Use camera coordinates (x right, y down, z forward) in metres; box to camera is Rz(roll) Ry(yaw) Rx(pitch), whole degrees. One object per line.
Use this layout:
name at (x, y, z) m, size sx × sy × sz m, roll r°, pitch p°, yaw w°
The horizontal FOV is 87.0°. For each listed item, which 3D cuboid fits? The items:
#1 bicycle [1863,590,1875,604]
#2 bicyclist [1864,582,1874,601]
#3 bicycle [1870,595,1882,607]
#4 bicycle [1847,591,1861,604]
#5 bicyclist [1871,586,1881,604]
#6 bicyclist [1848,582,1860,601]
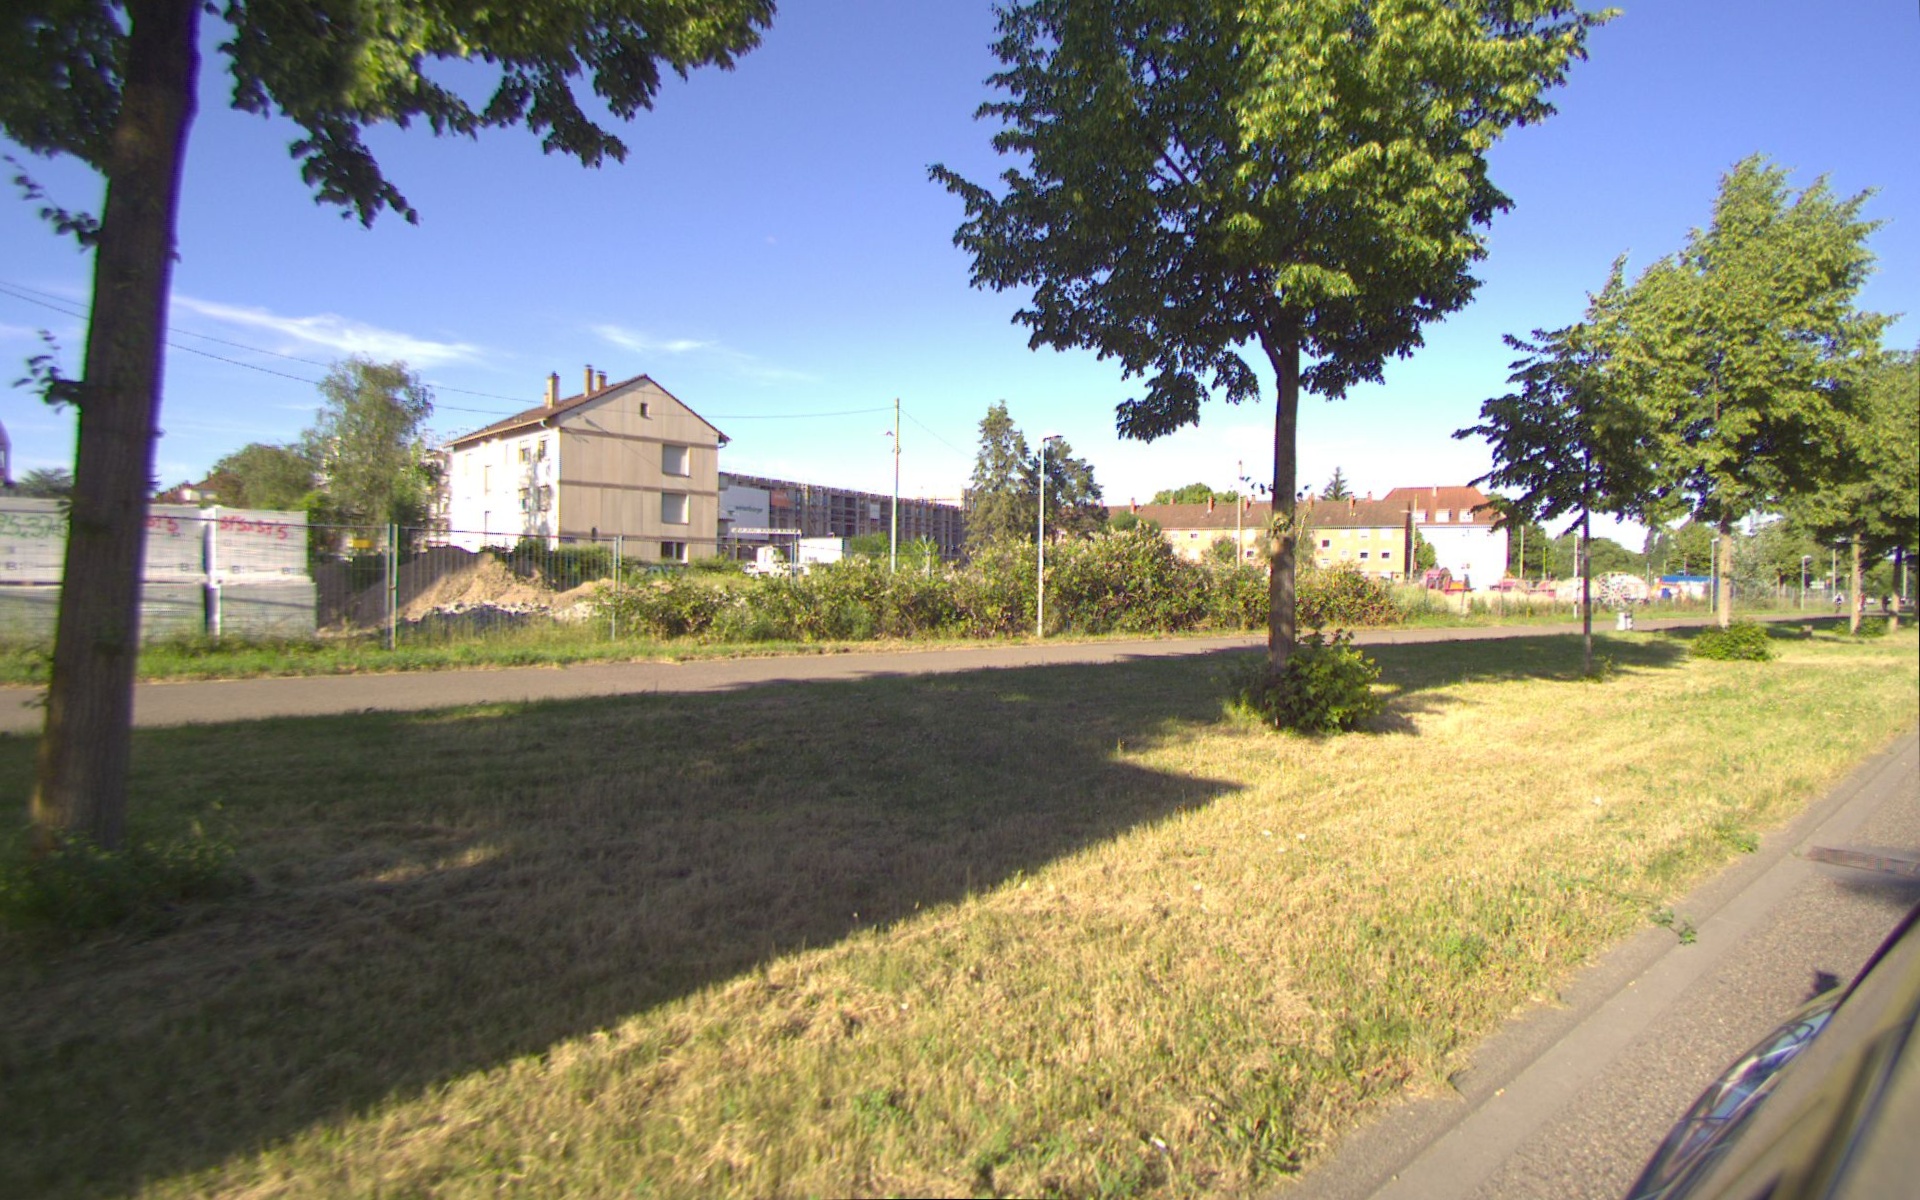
bicycle at (74.297, -0.253, 82.675) m, size 1.577 × 1.166 × 0.506 m, roll 0°, pitch 3°, yaw -42°
bicyclist at (74.328, -0.717, 82.722) m, size 0.820 × 1.491 × 0.503 m, roll -1°, pitch 2°, yaw -42°
bicycle at (82.044, 0.079, 90.659) m, size 1.868 × 0.972 × 0.592 m, roll -2°, pitch 2°, yaw -43°
bicycle at (73.802, -0.187, 83.572) m, size 1.788 × 1.025 × 0.656 m, roll 0°, pitch 0°, yaw -41°
bicyclist at (82.067, -0.458, 90.669) m, size 0.949 × 1.606 × 0.592 m, roll -2°, pitch 2°, yaw -42°
bicyclist at (73.817, -0.707, 83.569) m, size 0.781 × 1.572 × 0.654 m, roll -1°, pitch 2°, yaw -40°
